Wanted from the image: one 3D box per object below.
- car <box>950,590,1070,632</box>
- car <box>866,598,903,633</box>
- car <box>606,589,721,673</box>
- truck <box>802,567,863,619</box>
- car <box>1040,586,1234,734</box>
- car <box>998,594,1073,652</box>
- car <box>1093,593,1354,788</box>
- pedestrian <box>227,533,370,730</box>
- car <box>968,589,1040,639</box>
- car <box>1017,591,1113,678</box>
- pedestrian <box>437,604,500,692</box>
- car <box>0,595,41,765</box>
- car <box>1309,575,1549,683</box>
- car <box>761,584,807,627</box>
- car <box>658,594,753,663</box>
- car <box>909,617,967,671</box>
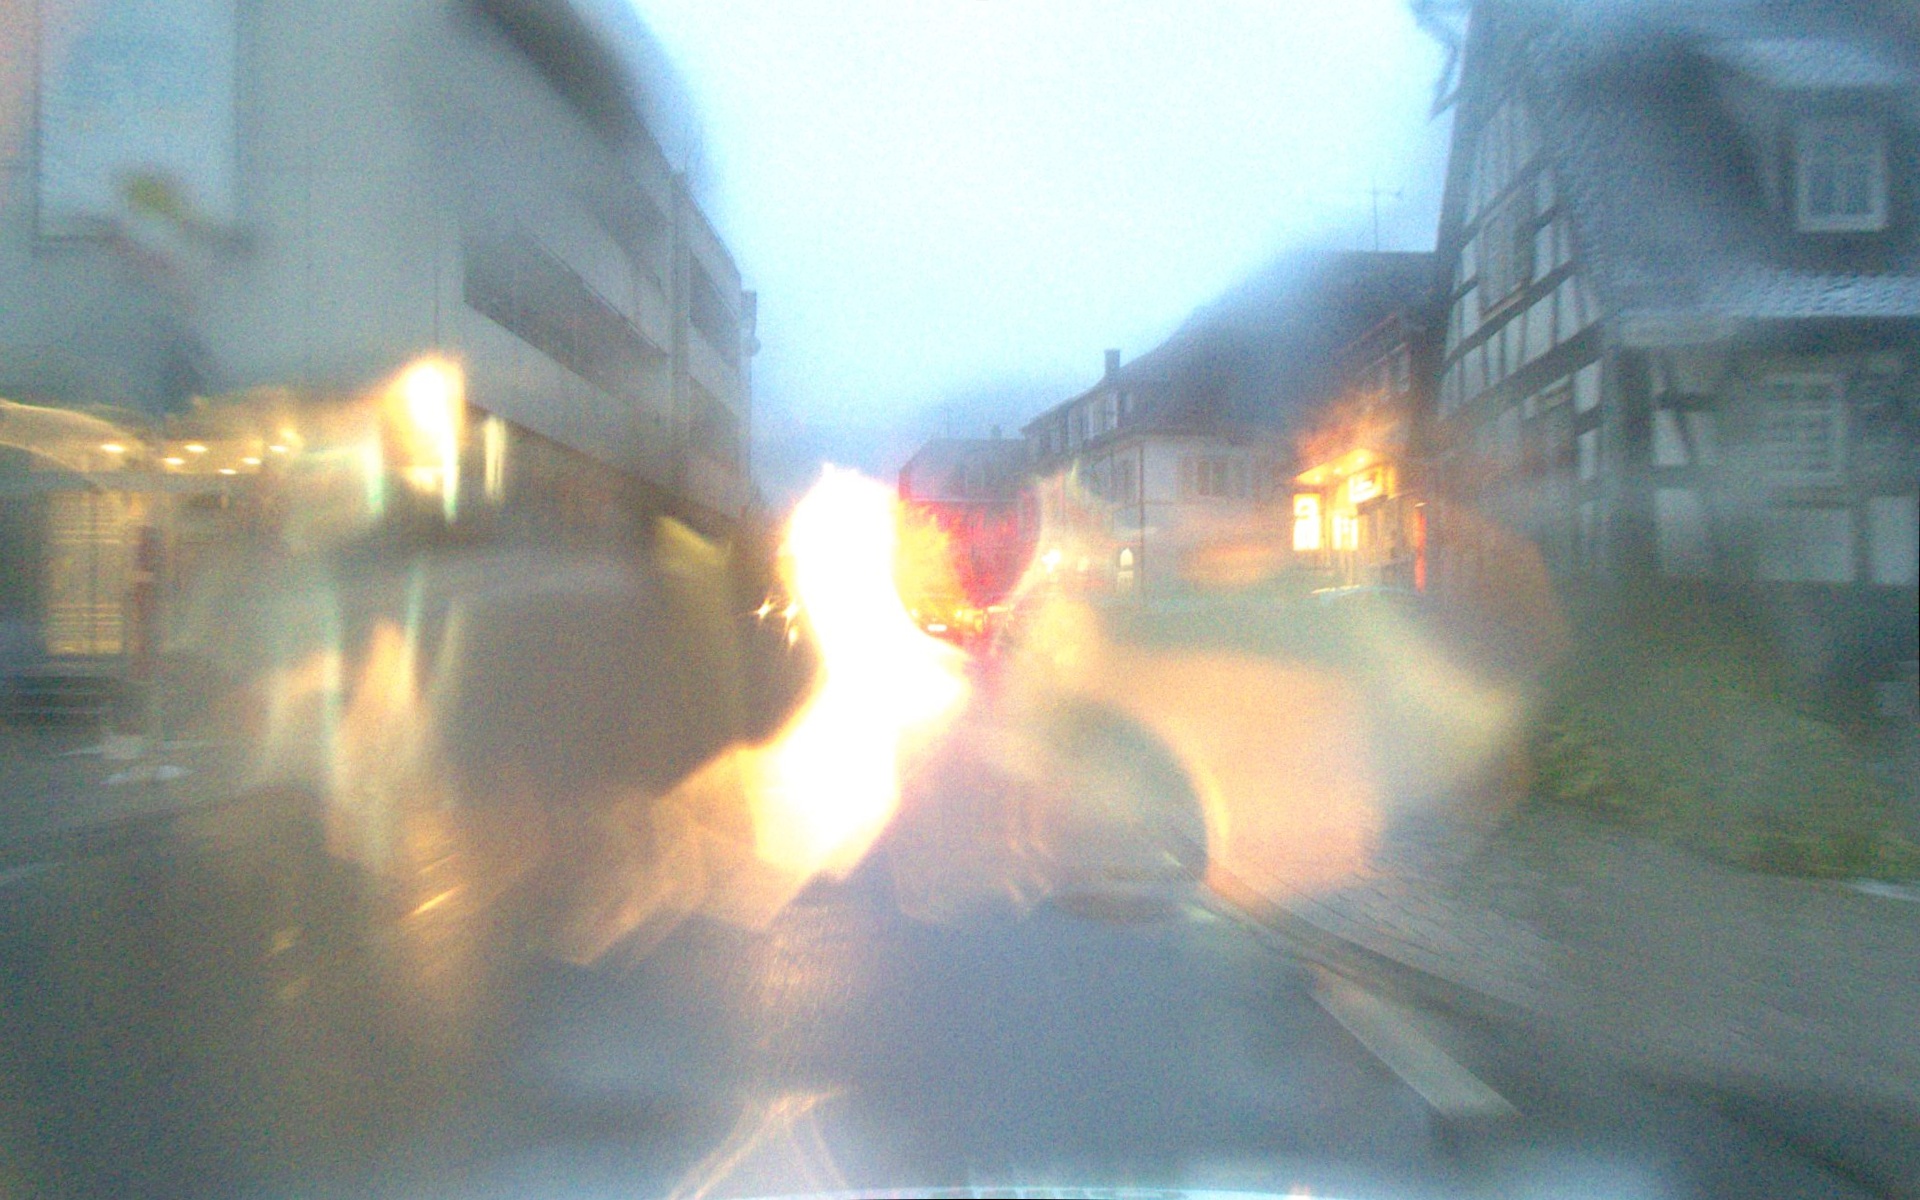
[{"bbox_3d":[1.921,0.409,64.266,4.385,1.499,1.894,-1,1,-10],"label":"car"},{"bbox_3d":[-3.412,0.673,74.258,1.605,1.507,3.269,1,0,-4],"label":"car"},{"bbox_3d":[-5.954,0.589,33.599,1.582,1.559,3.928,2,0,0],"label":"car"},{"bbox_3d":[-8.217,-0.441,105.706,2.961,3.183,7.979,1,0,-11],"label":"truck"},{"bbox_3d":[2.049,0.662,20.324,1.729,1.553,4.388,-2,0,-2],"label":"car"},{"bbox_3d":[2.105,0.620,47.033,1.758,1.486,4.529,-2,0,-2],"label":"car"},{"bbox_3d":[2.262,0.718,15.184,1.697,1.484,4.000,-2,0,0],"label":"car"},{"bbox_3d":[-6.849,0.307,17.188,0.953,1.972,1.203,0,0,3],"label":"pedestrian"},{"bbox_3d":[1.437,0.442,56.056,1.846,1.574,4.665,-1,0,-6],"label":"car"},{"bbox_3d":[1.903,0.599,30.846,1.593,1.466,3.800,-2,0,1],"label":"car"},{"bbox_3d":[-7.716,0.745,26.006,0.740,1.333,0.828,1,0,-2],"label":"pedestrian"},{"bbox_3d":[-9.523,0.796,13.506,1.728,1.526,4.448,-1,2,-3],"label":"car"},{"bbox_3d":[7.336,0.450,26.086,3.224,1.466,1.686,-3,0,-2],"label":"car"},{"bbox_3d":[-7.384,0.214,69.109,1.761,1.671,3.805,1,0,-8],"label":"car"},{"bbox_3d":[-5.937,0.629,39.072,1.641,1.472,4.426,2,0,-2],"label":"car"},{"bbox_3d":[-0.675,1.284,49.103,1.605,1.507,3.377,1,0,-3],"label":"car"}]
